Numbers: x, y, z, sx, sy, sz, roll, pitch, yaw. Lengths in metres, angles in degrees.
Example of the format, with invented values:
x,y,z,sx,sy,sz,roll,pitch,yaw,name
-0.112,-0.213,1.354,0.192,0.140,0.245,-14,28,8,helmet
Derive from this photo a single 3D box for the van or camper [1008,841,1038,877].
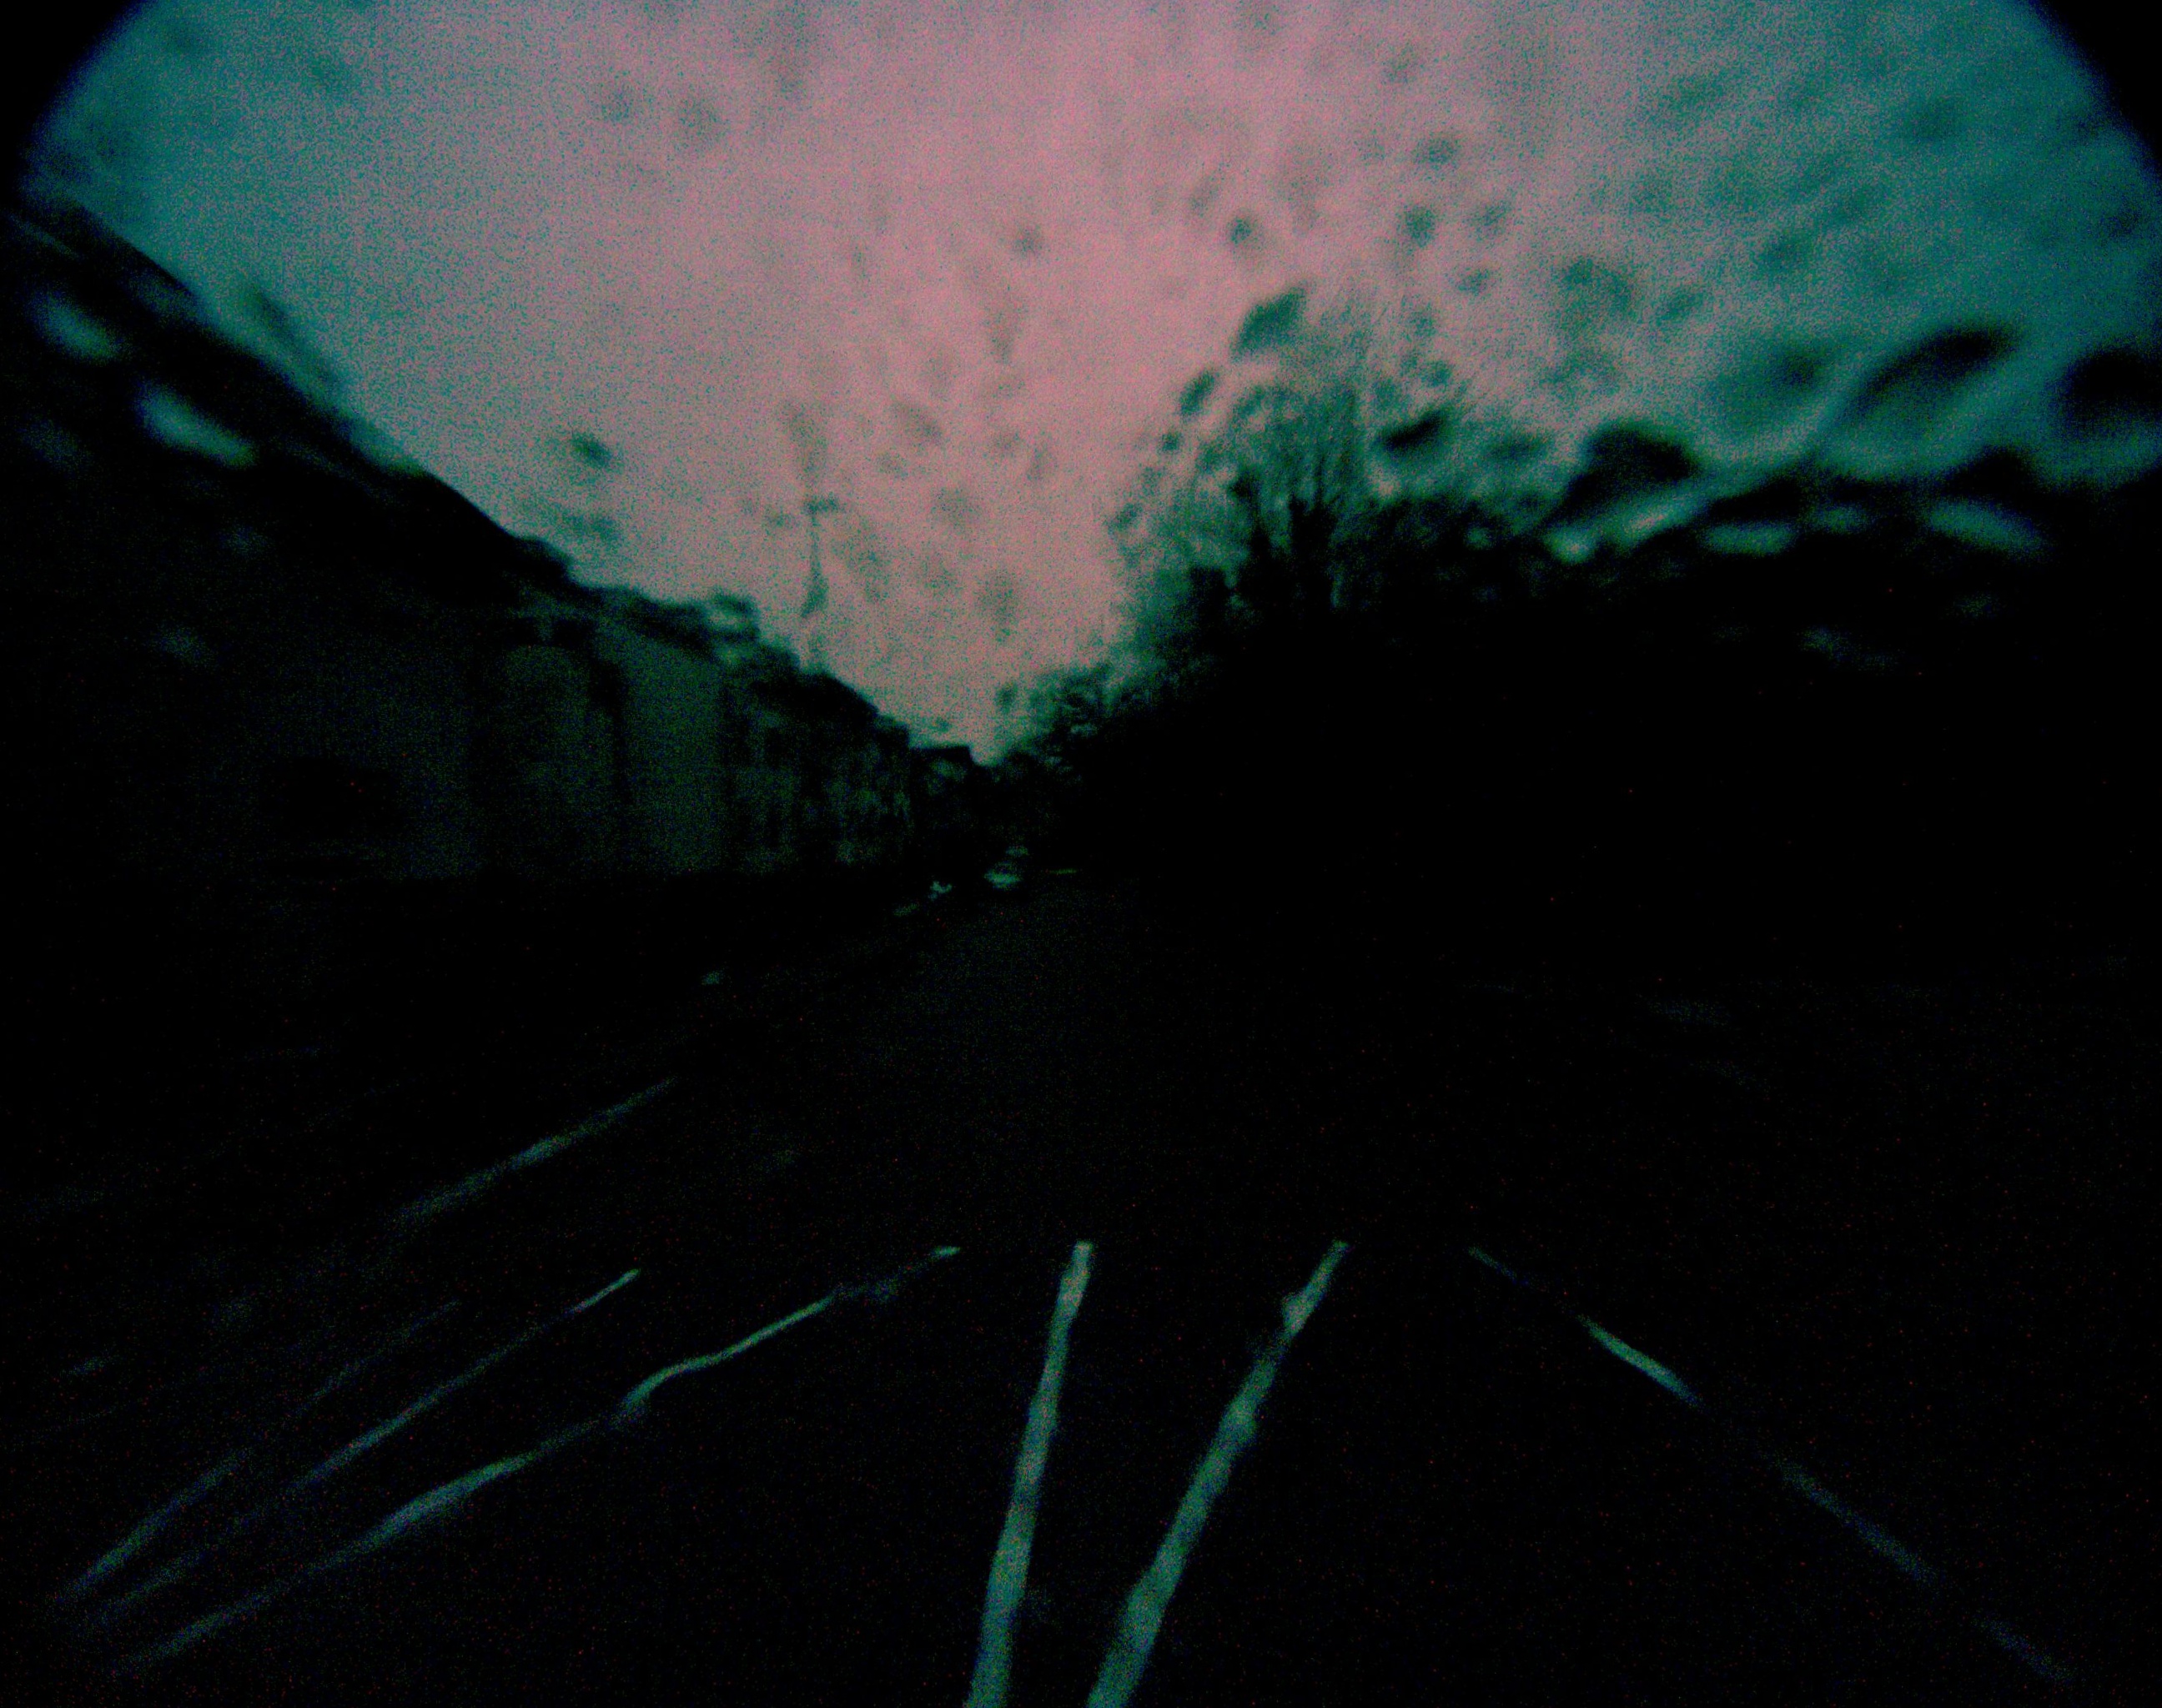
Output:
x,y,z,sx,sy,sz,roll,pitch,yaw,name
-4.393,0.357,57.018,2.020,2.493,6.790,-1,0,-5,van or camper

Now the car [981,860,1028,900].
x,y,z,sx,sy,sz,roll,pitch,yaw,name
-3.176,1.051,32.074,1.743,1.421,4.455,-3,0,-4,car
